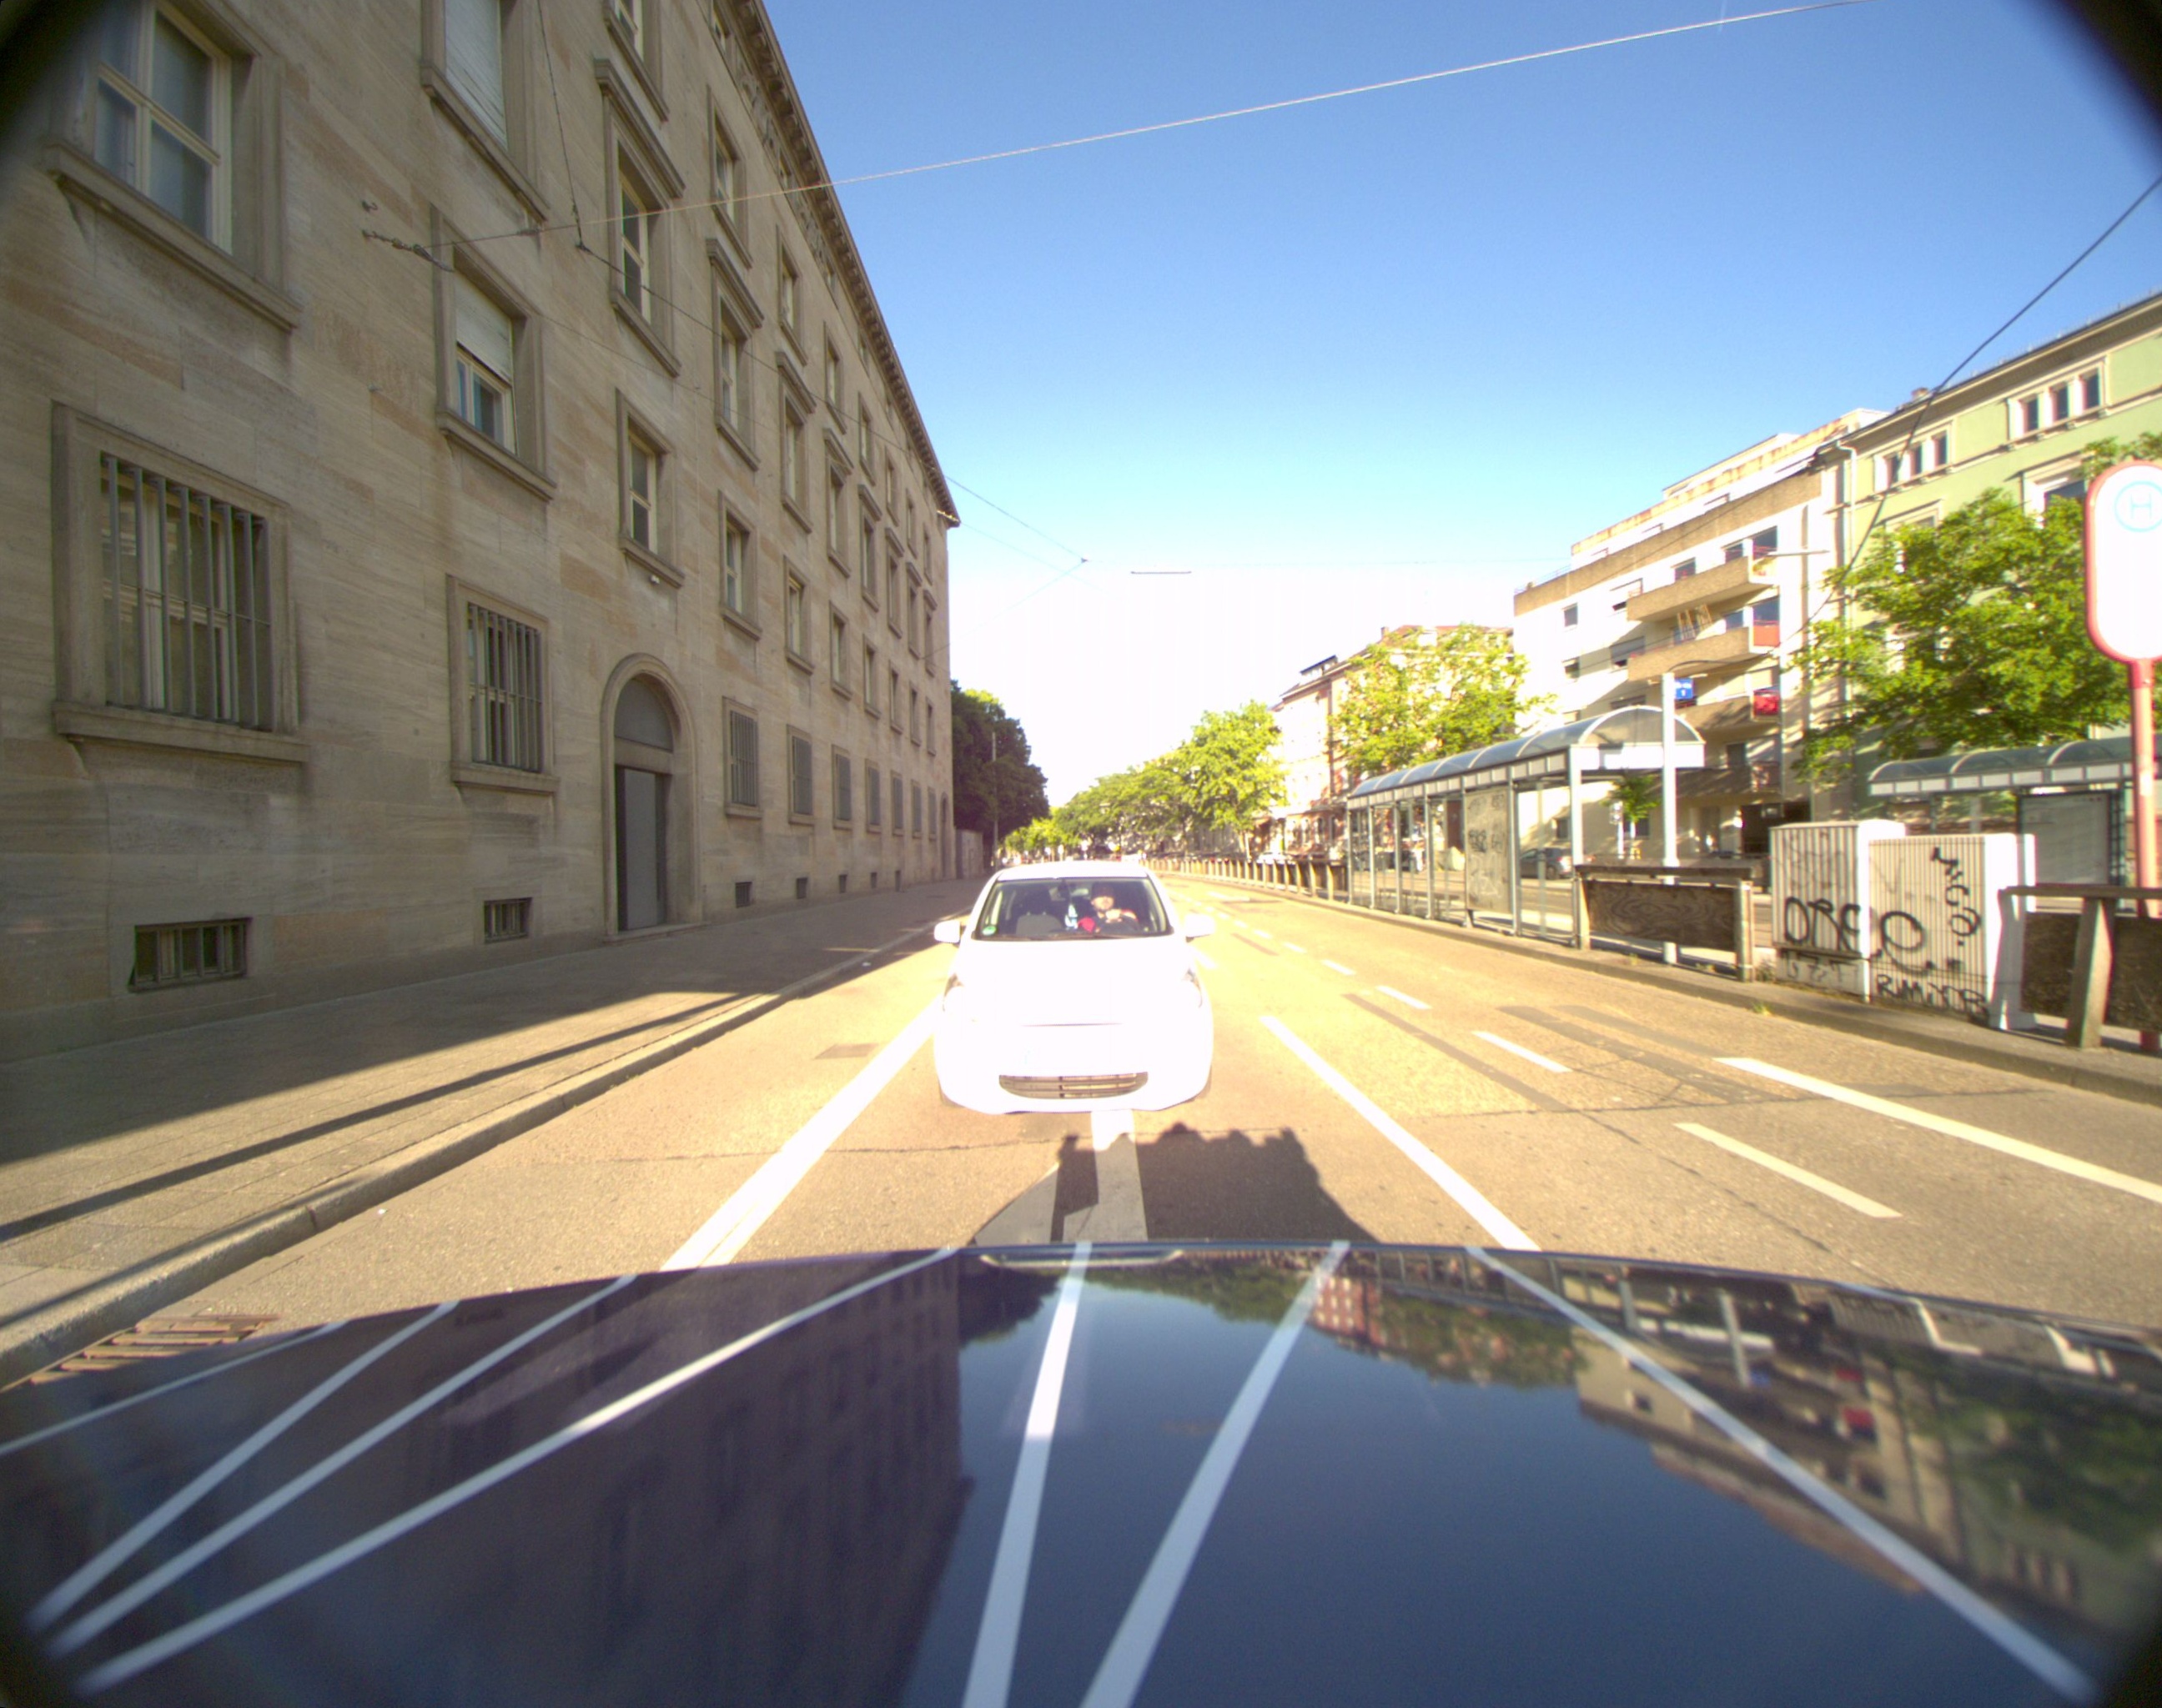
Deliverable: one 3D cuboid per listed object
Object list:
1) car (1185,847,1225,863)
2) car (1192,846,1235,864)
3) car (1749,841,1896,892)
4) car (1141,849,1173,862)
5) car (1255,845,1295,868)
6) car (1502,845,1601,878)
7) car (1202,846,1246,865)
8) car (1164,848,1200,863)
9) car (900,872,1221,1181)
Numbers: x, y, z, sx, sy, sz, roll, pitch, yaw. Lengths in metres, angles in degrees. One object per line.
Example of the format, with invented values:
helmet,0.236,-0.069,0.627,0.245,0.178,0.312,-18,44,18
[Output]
car,13.154,0.090,80.523,3.996,1.674,2.000,-1,0,4
car,13.347,0.118,76.720,3.996,1.674,2.000,-1,0,4
car,23.932,0.373,24.545,3.796,1.526,1.772,-1,0,-17
car,9.560,0.136,95.709,3.864,1.583,2.001,-1,0,4
car,16.301,0.168,63.671,1.994,1.713,4.007,0,2,34
car,20.844,0.320,33.828,1.615,1.387,3.516,-1,0,-19
car,13.633,0.134,72.586,3.996,1.674,2.000,-1,0,4
car,11.432,0.150,86.083,3.864,1.583,2.001,-1,0,5
car,-0.080,0.926,5.702,1.612,1.450,3.667,-1,0,1
